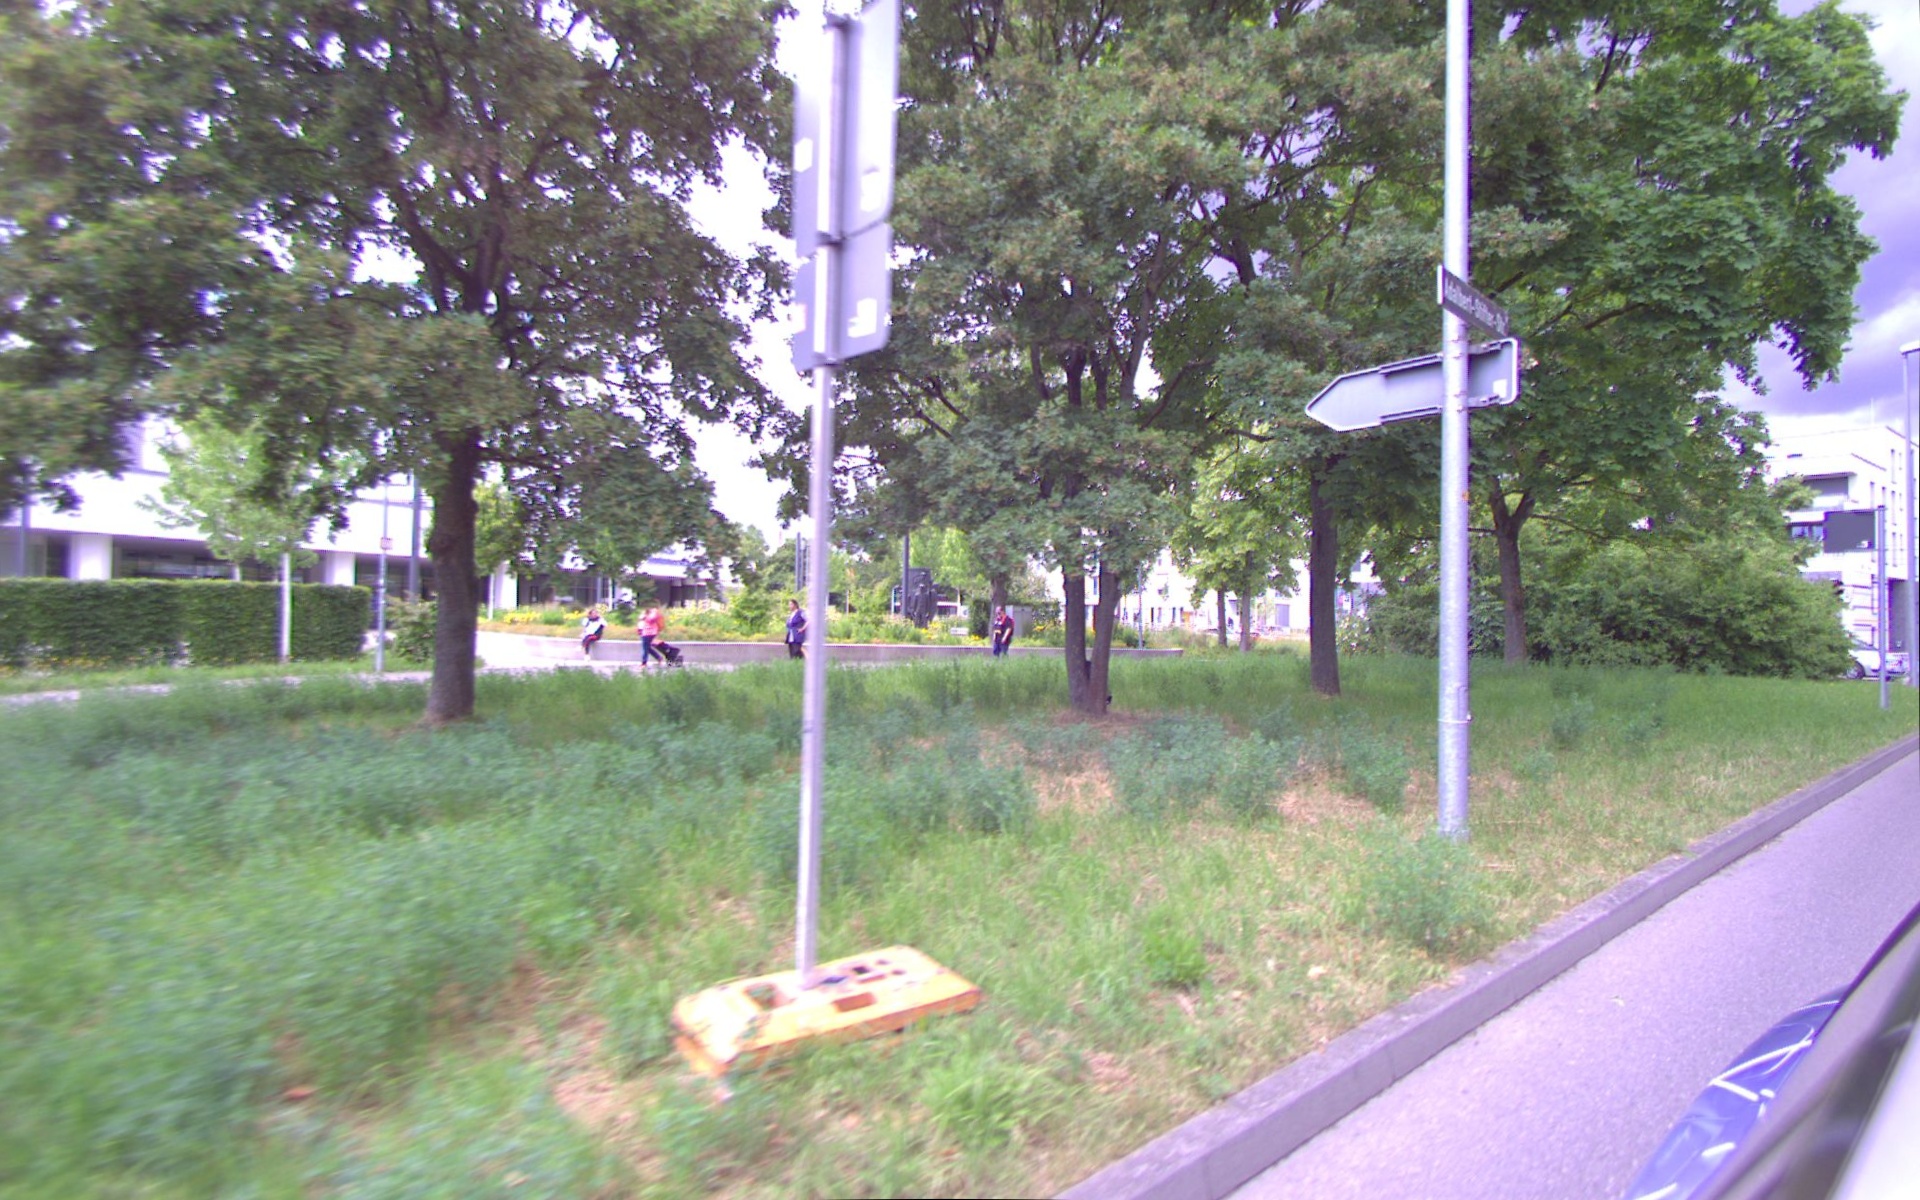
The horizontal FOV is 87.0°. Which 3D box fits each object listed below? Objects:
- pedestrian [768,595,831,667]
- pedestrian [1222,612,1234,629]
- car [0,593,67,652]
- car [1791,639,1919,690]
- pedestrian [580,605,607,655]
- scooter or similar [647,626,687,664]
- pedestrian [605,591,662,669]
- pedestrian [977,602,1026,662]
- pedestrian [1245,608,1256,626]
[{"bbox_3d":[-3.394,0.649,21.352,0.966,1.471,0.878,3,-3,-42],"label":"pedestrian"},{"bbox_3d":[22.849,1.766,86.383,0.703,1.428,0.670,3,-3,-41],"label":"pedestrian"},{"bbox_3d":[-24.690,0.560,25.970,3.069,1.441,1.497,0,-2,24],"label":"car"},{"bbox_3d":[31.530,2.222,35.404,1.704,1.594,3.448,3,-2,-31],"label":"car"},{"bbox_3d":[-8.752,0.709,24.150,0.593,1.175,0.650,0,-1,-21],"label":"pedestrian"},{"bbox_3d":[-6.504,0.985,22.454,0.660,0.792,0.635,0,-1,-37],"label":"scooter or similar"},{"bbox_3d":[-7.045,0.627,21.854,0.913,1.627,0.956,1,-1,-36],"label":"pedestrian"},{"bbox_3d":[1.034,0.796,25.210,0.966,1.471,0.759,3,-3,-42],"label":"pedestrian"},{"bbox_3d":[24.866,1.428,86.613,0.702,1.538,0.670,3,-3,-38],"label":"pedestrian"}]
